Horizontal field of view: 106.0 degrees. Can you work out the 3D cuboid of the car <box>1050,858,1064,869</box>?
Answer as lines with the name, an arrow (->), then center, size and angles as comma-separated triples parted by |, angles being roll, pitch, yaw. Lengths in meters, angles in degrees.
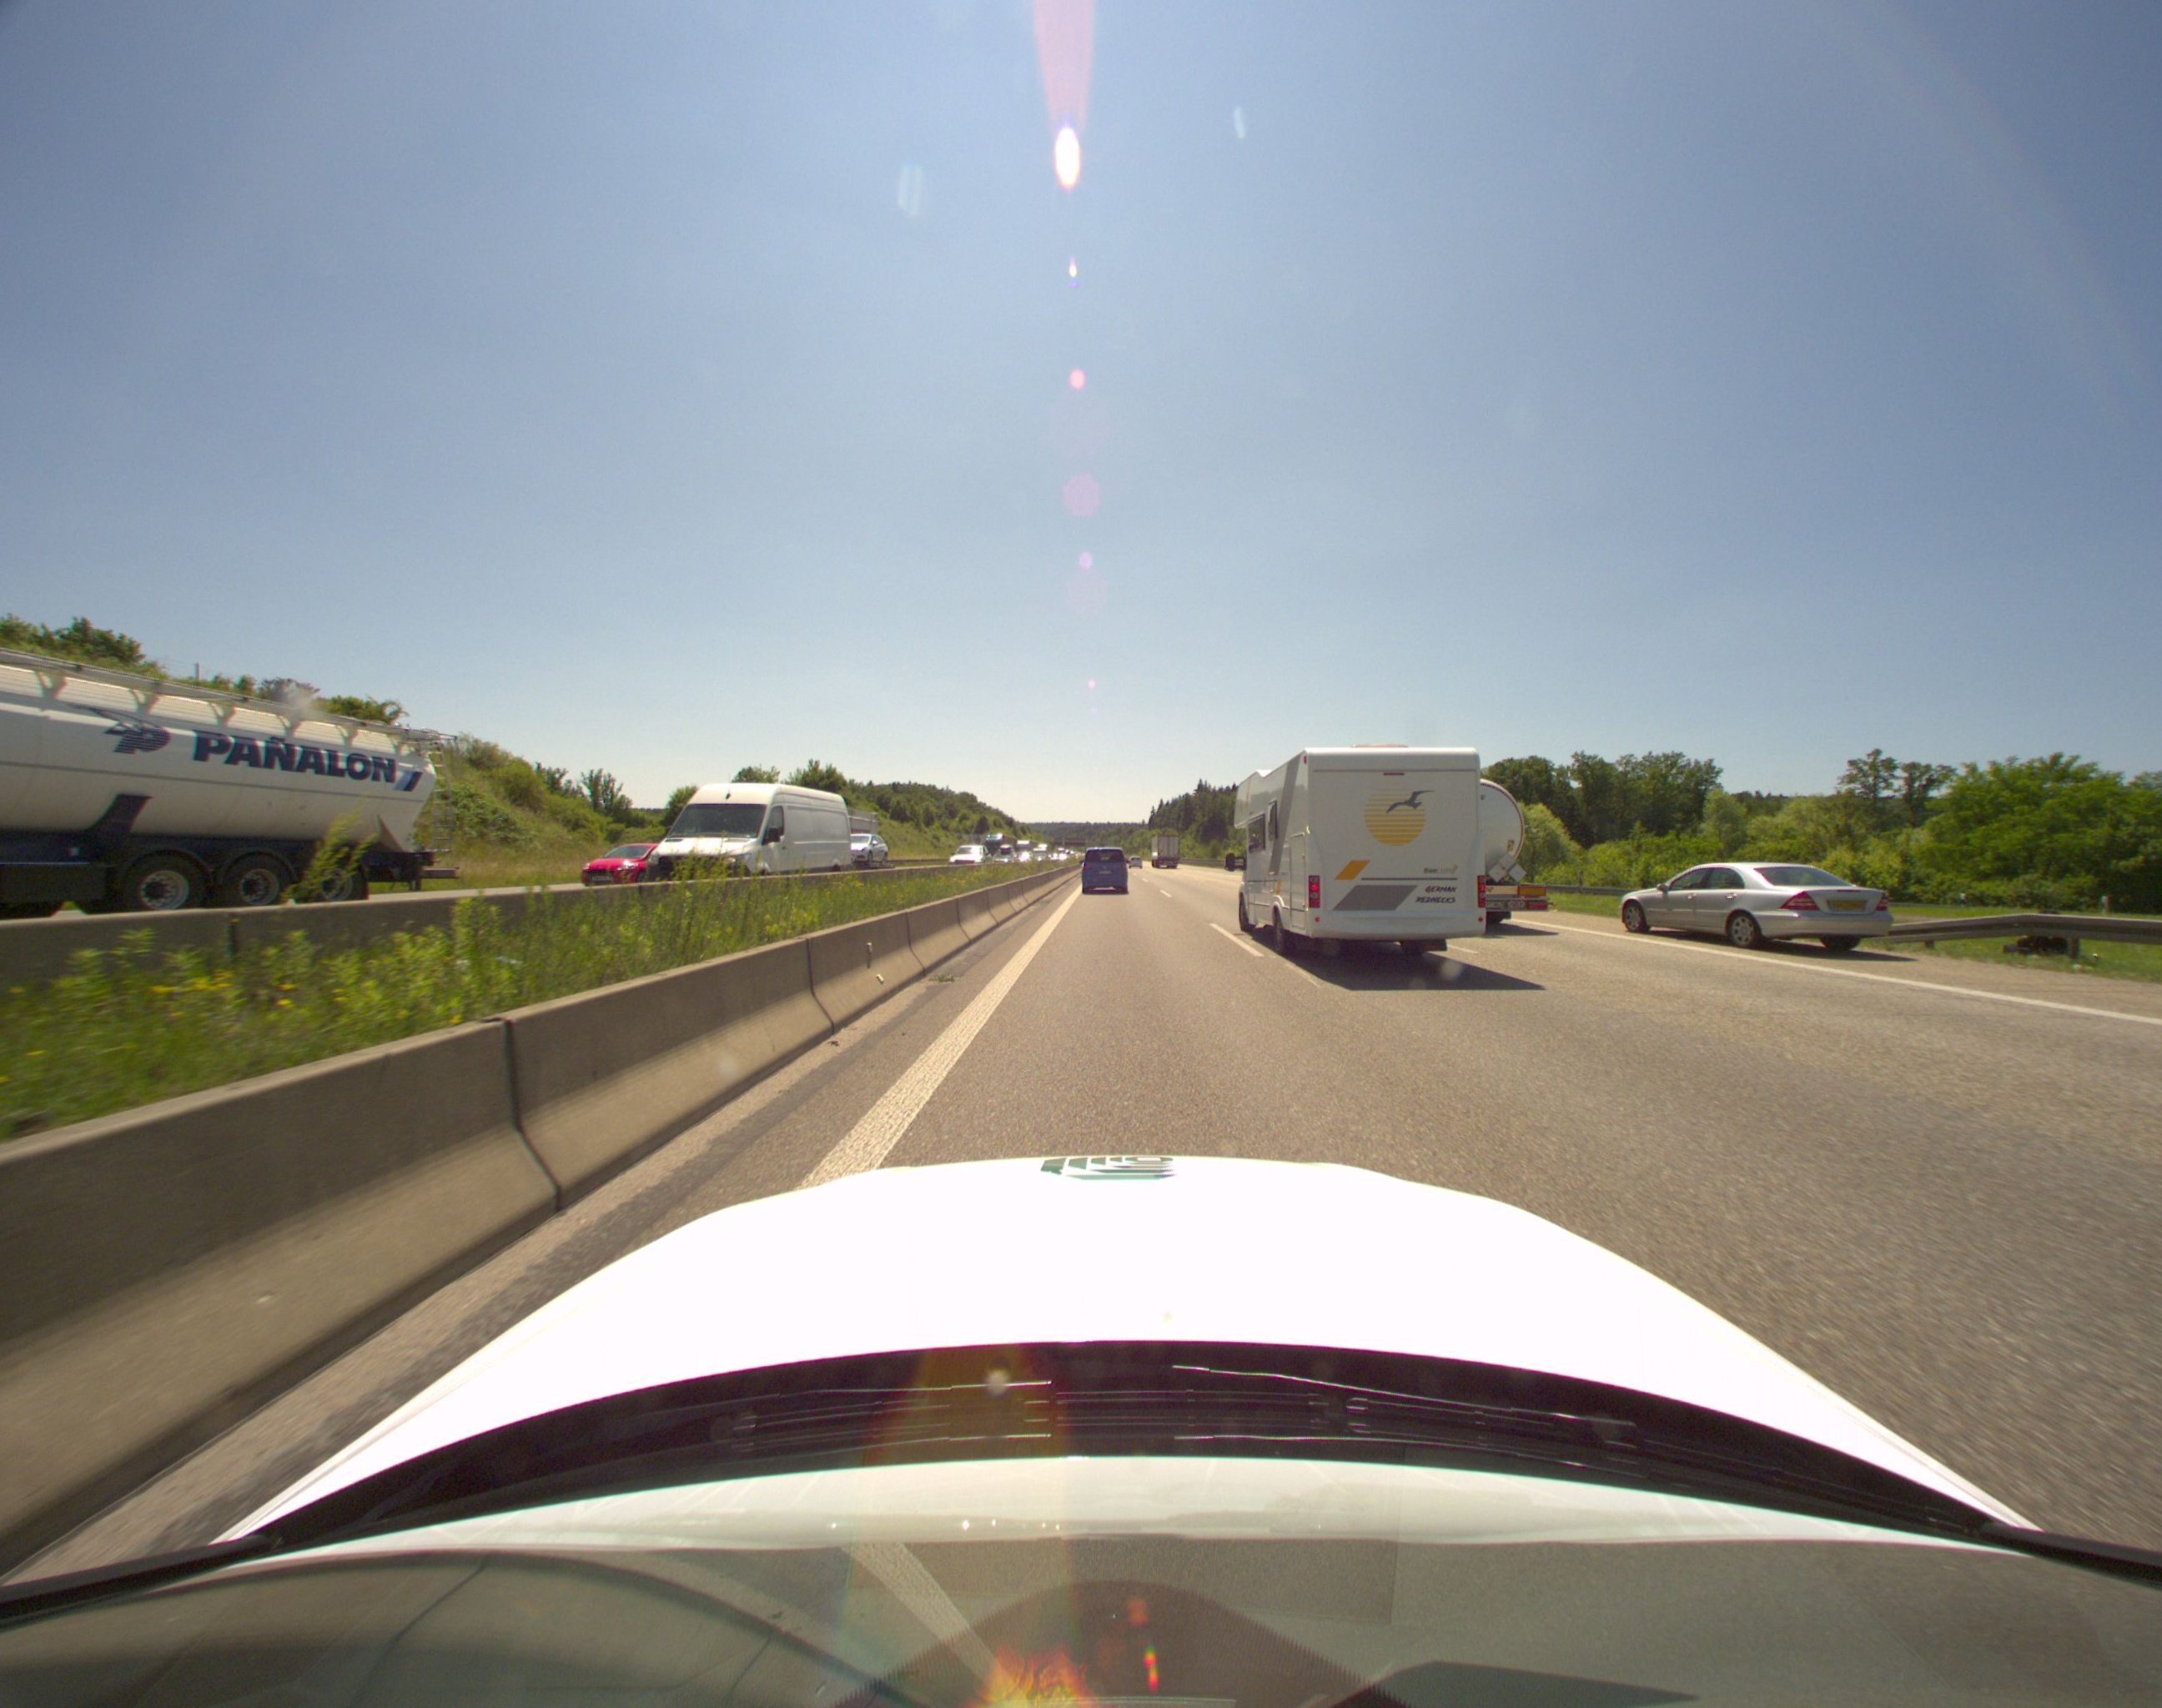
car -> -3.608, 1.385, 123.329 | 1.781, 1.546, 4.002 | 3, 0, 2

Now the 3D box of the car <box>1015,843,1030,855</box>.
car -> -10.878, -0.918, 150.657 | 2.078, 2.063, 5.061 | 3, 0, 2

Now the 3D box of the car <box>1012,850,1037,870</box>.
car -> -5.233, 0.559, 76.244 | 1.781, 1.753, 4.002 | 3, 0, 2

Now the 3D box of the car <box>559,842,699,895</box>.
car -> -14.252, 0.436, 26.032 | 1.789, 1.538, 4.586 | 0, 0, 2

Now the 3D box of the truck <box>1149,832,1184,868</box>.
truck -> 10.540, -0.452, 101.272 | 3.474, 4.170, 8.645 | 3, 0, 2

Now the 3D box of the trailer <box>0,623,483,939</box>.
trailer -> -14.835, -0.891, 11.606 | 2.670, 3.950, 13.246 | -1, 0, 1

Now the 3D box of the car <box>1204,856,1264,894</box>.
car -> 6.394, 0.847, 34.387 | 1.902, 1.475, 4.002 | 1, 0, 2

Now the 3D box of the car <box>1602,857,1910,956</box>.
car -> 11.637, 0.803, 14.588 | 1.707, 1.440, 4.770 | 1, 0, 2

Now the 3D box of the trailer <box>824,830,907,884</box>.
trailer -> -9.763, 0.159, 37.390 | 2.081, 2.210, 5.166 | 3, 0, 2

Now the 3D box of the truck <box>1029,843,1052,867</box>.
truck -> -6.981, 0.252, 142.373 | 2.981, 3.803, 12.164 | 3, 0, 1

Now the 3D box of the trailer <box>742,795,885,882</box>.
trailer -> -14.032, -0.766, 44.276 | 3.565, 4.093, 11.543 | 1, 0, 2

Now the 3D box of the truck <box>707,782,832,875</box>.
truck -> -14.193, -1.053, 37.689 | 3.443, 3.877, 5.445 | 2, -1, 1

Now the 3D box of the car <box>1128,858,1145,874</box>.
car -> 6.889, 1.502, 101.223 | 1.811, 1.794, 3.895 | 3, 0, 2

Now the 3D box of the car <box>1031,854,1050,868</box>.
car -> -4.670, 0.785, 93.942 | 1.781, 1.546, 4.002 | 3, 0, 2

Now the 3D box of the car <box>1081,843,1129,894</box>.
car -> 1.015, 0.593, 34.362 | 1.902, 2.014, 4.002 | 1, 0, 2

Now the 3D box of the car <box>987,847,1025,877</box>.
car -> -5.449, 0.559, 59.662 | 1.986, 2.013, 5.166 | 3, 0, 2

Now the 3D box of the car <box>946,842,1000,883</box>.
car -> -5.947, 0.458, 45.393 | 1.986, 2.013, 5.166 | 3, 0, 2

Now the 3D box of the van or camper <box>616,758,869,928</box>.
van or camper -> -6.932, -0.171, 18.089 | 1.986, 2.877, 7.645 | 3, 0, 2

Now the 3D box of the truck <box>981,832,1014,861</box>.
truck -> -11.839, -0.997, 116.299 | 2.981, 3.803, 12.164 | 3, 0, 1

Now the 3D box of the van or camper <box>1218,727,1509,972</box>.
van or camper -> 4.151, -0.035, 13.824 | 2.593, 3.079, 7.184 | 0, 0, 1

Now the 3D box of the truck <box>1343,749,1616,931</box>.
truck -> 9.213, -0.310, 20.285 | 2.916, 3.575, 8.531 | 0, 1, 2
